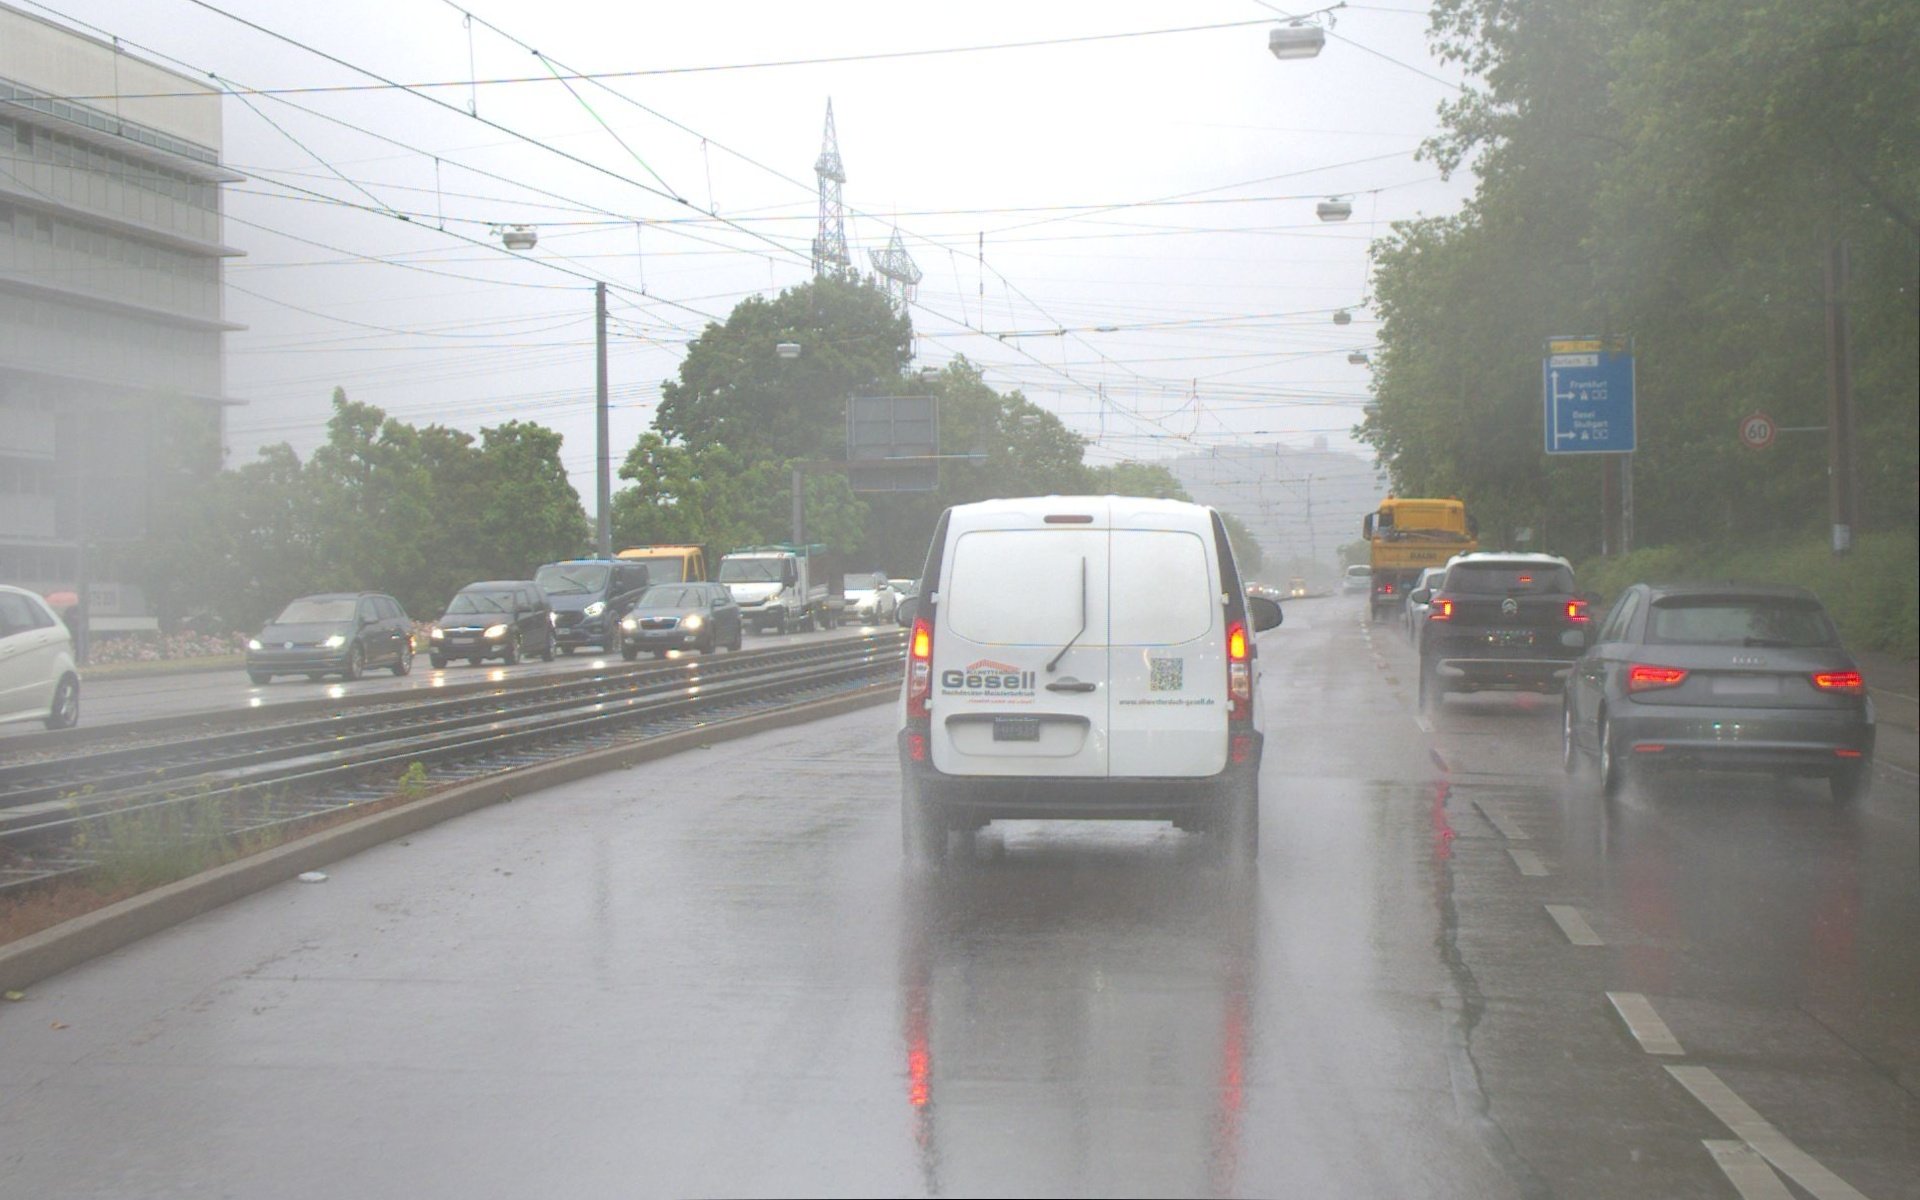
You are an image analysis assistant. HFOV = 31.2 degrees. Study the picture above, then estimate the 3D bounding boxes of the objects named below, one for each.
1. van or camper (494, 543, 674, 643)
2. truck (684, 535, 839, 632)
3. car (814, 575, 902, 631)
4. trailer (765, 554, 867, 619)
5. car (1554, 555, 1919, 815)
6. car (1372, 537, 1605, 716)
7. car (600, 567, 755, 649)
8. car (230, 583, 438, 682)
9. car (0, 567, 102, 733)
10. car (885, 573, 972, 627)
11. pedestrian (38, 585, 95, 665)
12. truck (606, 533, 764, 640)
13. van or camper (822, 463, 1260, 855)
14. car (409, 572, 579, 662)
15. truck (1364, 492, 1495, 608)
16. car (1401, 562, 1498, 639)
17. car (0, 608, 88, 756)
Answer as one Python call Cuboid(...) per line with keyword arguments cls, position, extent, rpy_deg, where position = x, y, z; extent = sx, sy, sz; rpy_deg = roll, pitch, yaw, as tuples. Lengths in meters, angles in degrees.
Cuboid(cls="van or camper", position=(-7.950, -0.163, 73.277), extent=(2.306, 2.007, 5.683), rpy_deg=(1, 1, 10))
Cuboid(cls="truck", position=(-5.290, -0.458, 92.839), extent=(2.436, 2.449, 7.215), rpy_deg=(1, 1, 11))
Cuboid(cls="car", position=(-3.151, 0.075, 106.896), extent=(1.772, 1.677, 4.687), rpy_deg=(1, 1, 10))
Cuboid(cls="trailer", position=(-4.128, -0.386, 98.982), extent=(2.120, 1.786, 3.834), rpy_deg=(1, 1, 10))
Cuboid(cls="car", position=(5.088, 0.488, 22.876), extent=(1.968, 1.523, 3.990), rpy_deg=(0, 1, 6))
Cuboid(cls="car", position=(5.436, 0.213, 35.879), extent=(1.899, 1.711, 4.725), rpy_deg=(0, 1, 3))
Cuboid(cls="car", position=(-5.488, 0.155, 67.318), extent=(1.994, 1.452, 4.670), rpy_deg=(-3, 0, 8))
Cuboid(cls="car", position=(-10.365, 0.515, 57.256), extent=(1.964, 1.511, 4.552), rpy_deg=(-2, 0, 9))
Cuboid(cls="car", position=(-10.297, 0.497, 34.148), extent=(1.874, 1.568, 4.326), rpy_deg=(1, 2, 9))
Cuboid(cls="car", position=(-0.891, -0.013, 100.917), extent=(1.858, 1.489, 4.688), rpy_deg=(-2, 0, 8))
Cuboid(cls="pedestrian", position=(-20.082, 0.564, 77.256), extent=(0.823, 1.756, 1.049), rpy_deg=(2, 0, 10))
Cuboid(cls="truck", position=(-6.632, -0.334, 83.717), extent=(2.228, 2.453, 6.064), rpy_deg=(1, 1, 11))
Cuboid(cls="van or camper", position=(0.540, 0.213, 17.873), extent=(1.994, 1.778, 4.000), rpy_deg=(1, 2, 5))
Cuboid(cls="car", position=(-8.946, 0.312, 66.383), extent=(1.859, 1.612, 4.906), rpy_deg=(-2, 0, 9))
Cuboid(cls="truck", position=(11.628, -1.222, 85.323), extent=(3.114, 2.764, 6.327), rpy_deg=(0, 1, 7))
Cuboid(cls="car", position=(9.595, -0.012, 67.398), extent=(1.819, 1.409, 3.777), rpy_deg=(0, 1, 8))
Cuboid(cls="car", position=(-12.901, 1.046, 43.340), extent=(1.994, 1.828, 4.691), rpy_deg=(-1, 0, 9))
